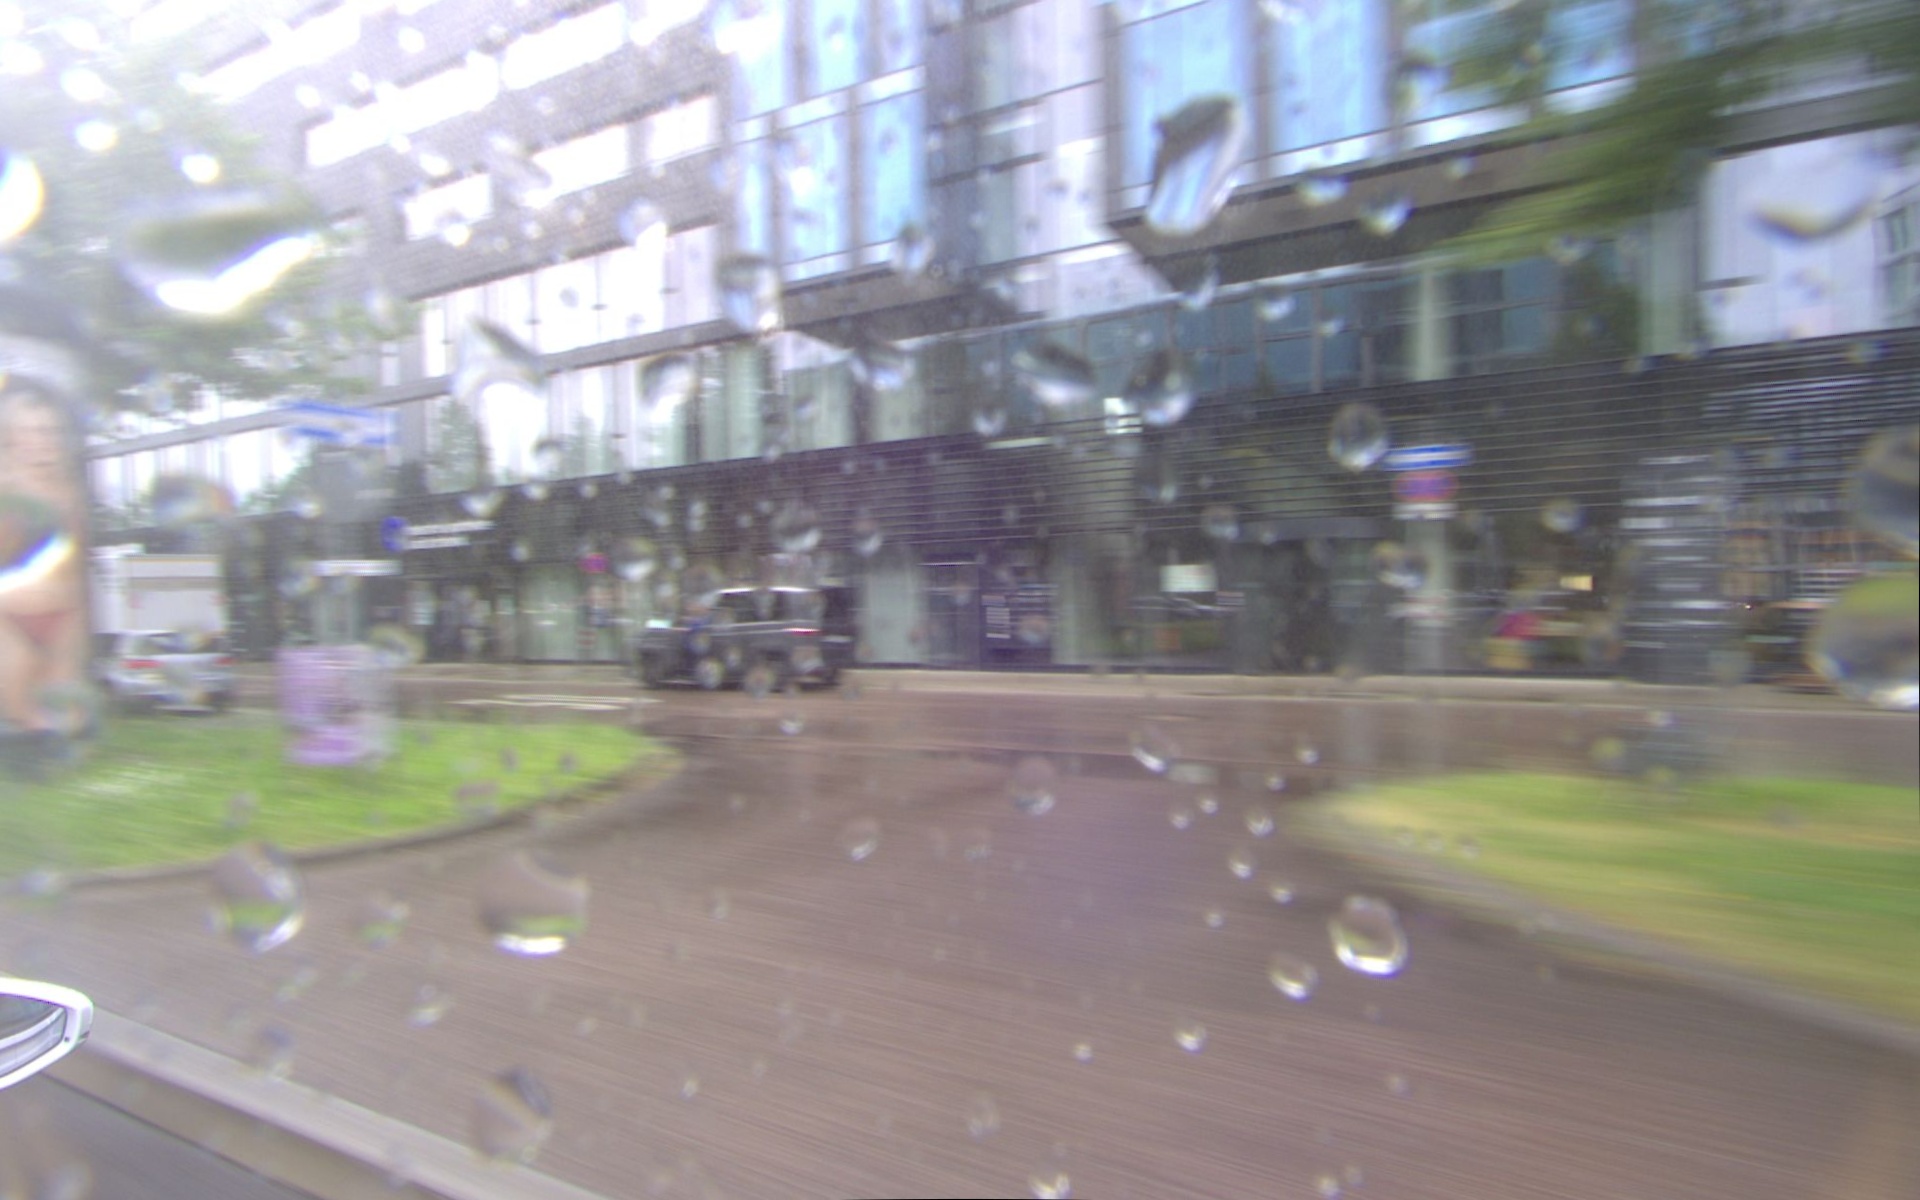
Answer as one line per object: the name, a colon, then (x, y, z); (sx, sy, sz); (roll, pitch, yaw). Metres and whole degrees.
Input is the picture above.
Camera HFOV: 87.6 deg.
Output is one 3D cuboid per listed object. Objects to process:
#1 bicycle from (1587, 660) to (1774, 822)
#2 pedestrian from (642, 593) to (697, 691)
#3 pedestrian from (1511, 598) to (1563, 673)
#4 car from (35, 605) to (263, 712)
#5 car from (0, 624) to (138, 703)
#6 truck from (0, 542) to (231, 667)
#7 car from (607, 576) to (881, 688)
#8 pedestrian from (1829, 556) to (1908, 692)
bicycle: (4.814, 0.894, 6.666); (1.441, 0.929, 0.431); (0, 2, -30)
pedestrian: (-5.365, 0.760, 18.488); (0.790, 1.763, 0.579); (2, 2, 26)
pedestrian: (9.827, 0.597, 17.060); (0.442, 1.254, 0.580); (0, 2, -20)
car: (-14.447, 0.950, 17.809); (4.036, 1.618, 1.759); (1, 1, 29)
car: (-19.698, 1.263, 20.862); (5.153, 1.463, 1.993); (-1, 0, 26)
truck: (-26.872, 0.201, 31.245); (8.410, 3.486, 3.024); (-1, 0, 26)
car: (-4.223, 0.595, 19.448); (5.067, 1.945, 1.993); (-1, 0, 26)
pedestrian: (12.626, 0.328, 13.927); (0.566, 1.857, 0.507); (1, 2, -8)
